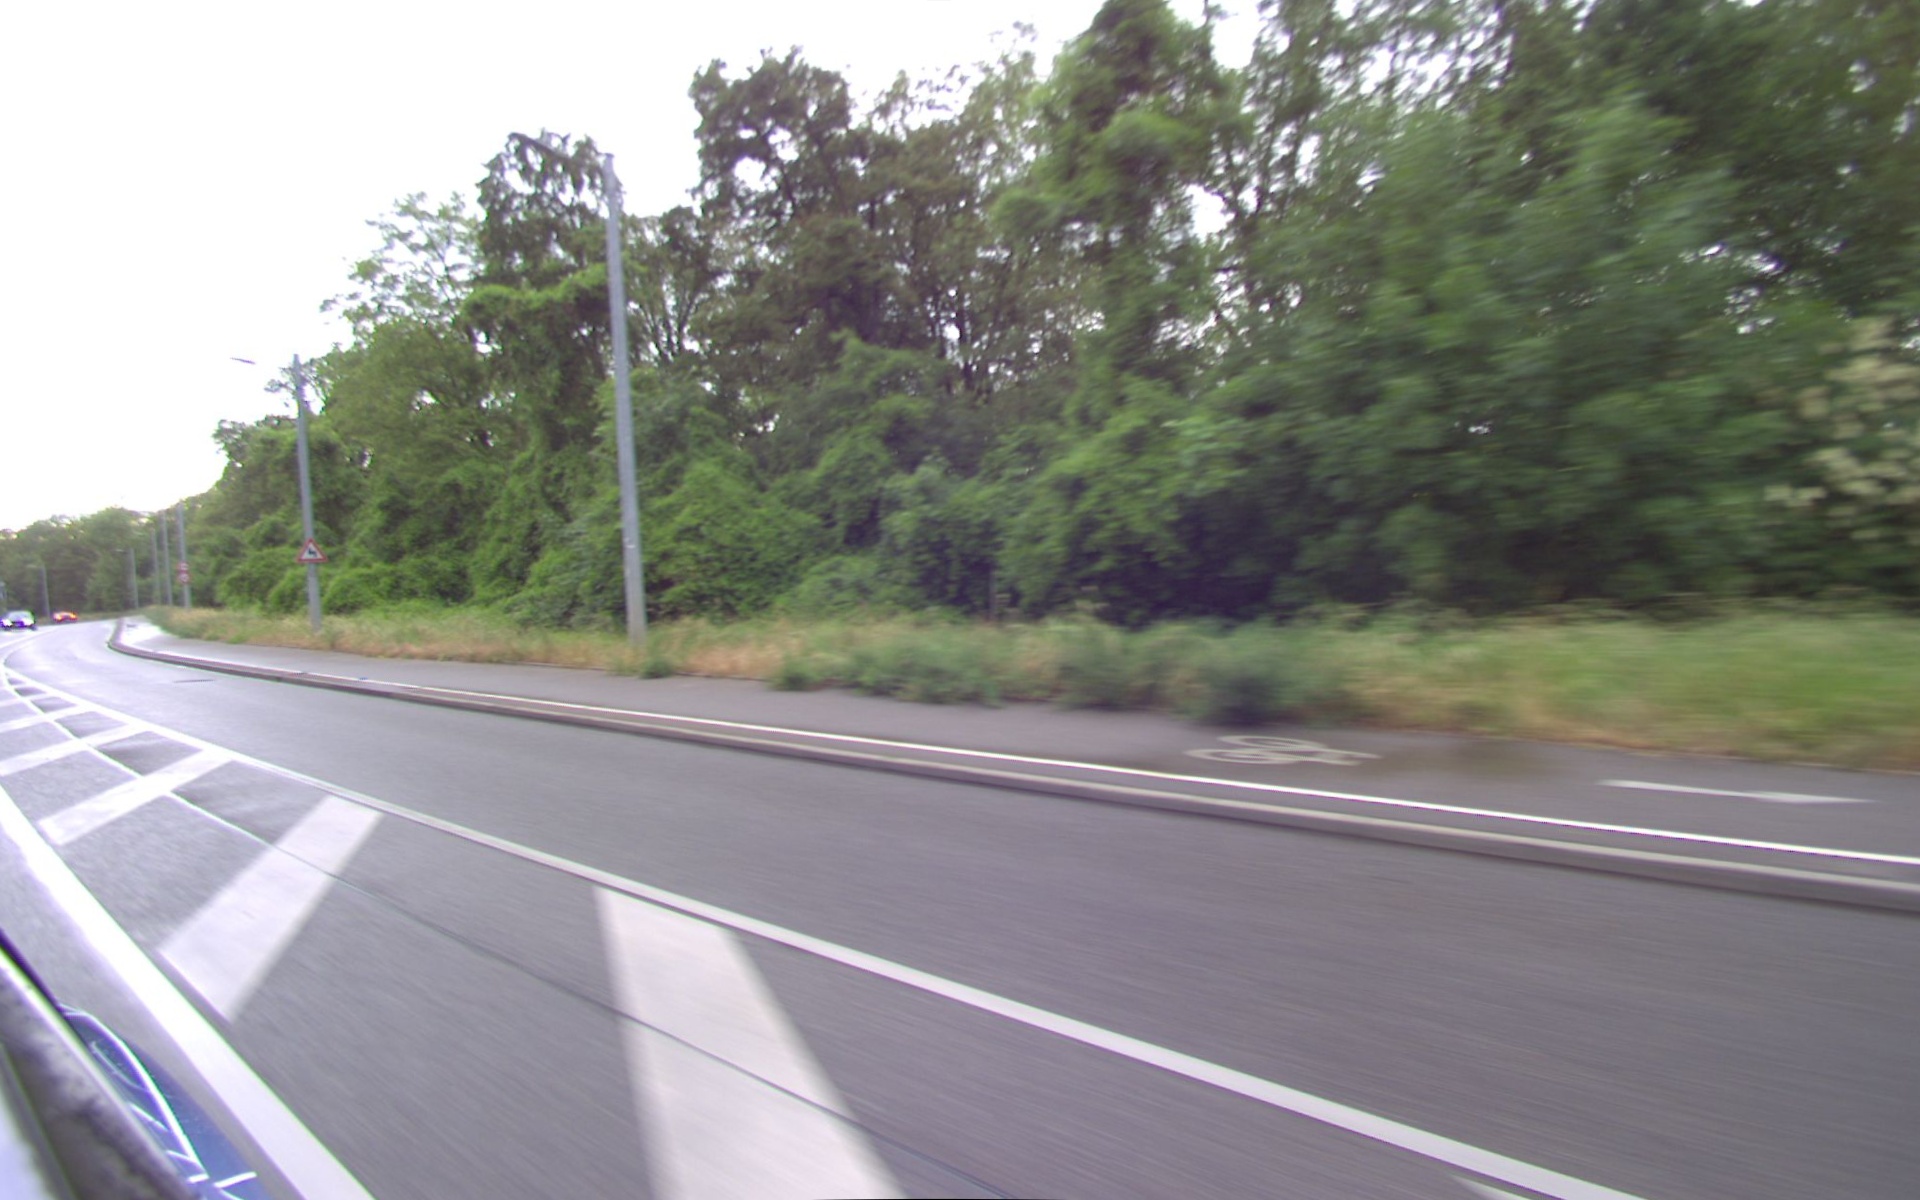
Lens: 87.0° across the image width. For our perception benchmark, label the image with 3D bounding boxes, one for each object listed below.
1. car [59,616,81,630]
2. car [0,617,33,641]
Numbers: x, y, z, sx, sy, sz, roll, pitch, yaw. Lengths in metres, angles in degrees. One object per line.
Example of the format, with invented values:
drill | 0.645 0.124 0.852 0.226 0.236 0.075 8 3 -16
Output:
car | -121.797 3.136 138.449 4.002 1.696 1.971 -1 1 45
car | -70.874 2.128 75.738 1.968 1.696 4.007 -2 1 -40
